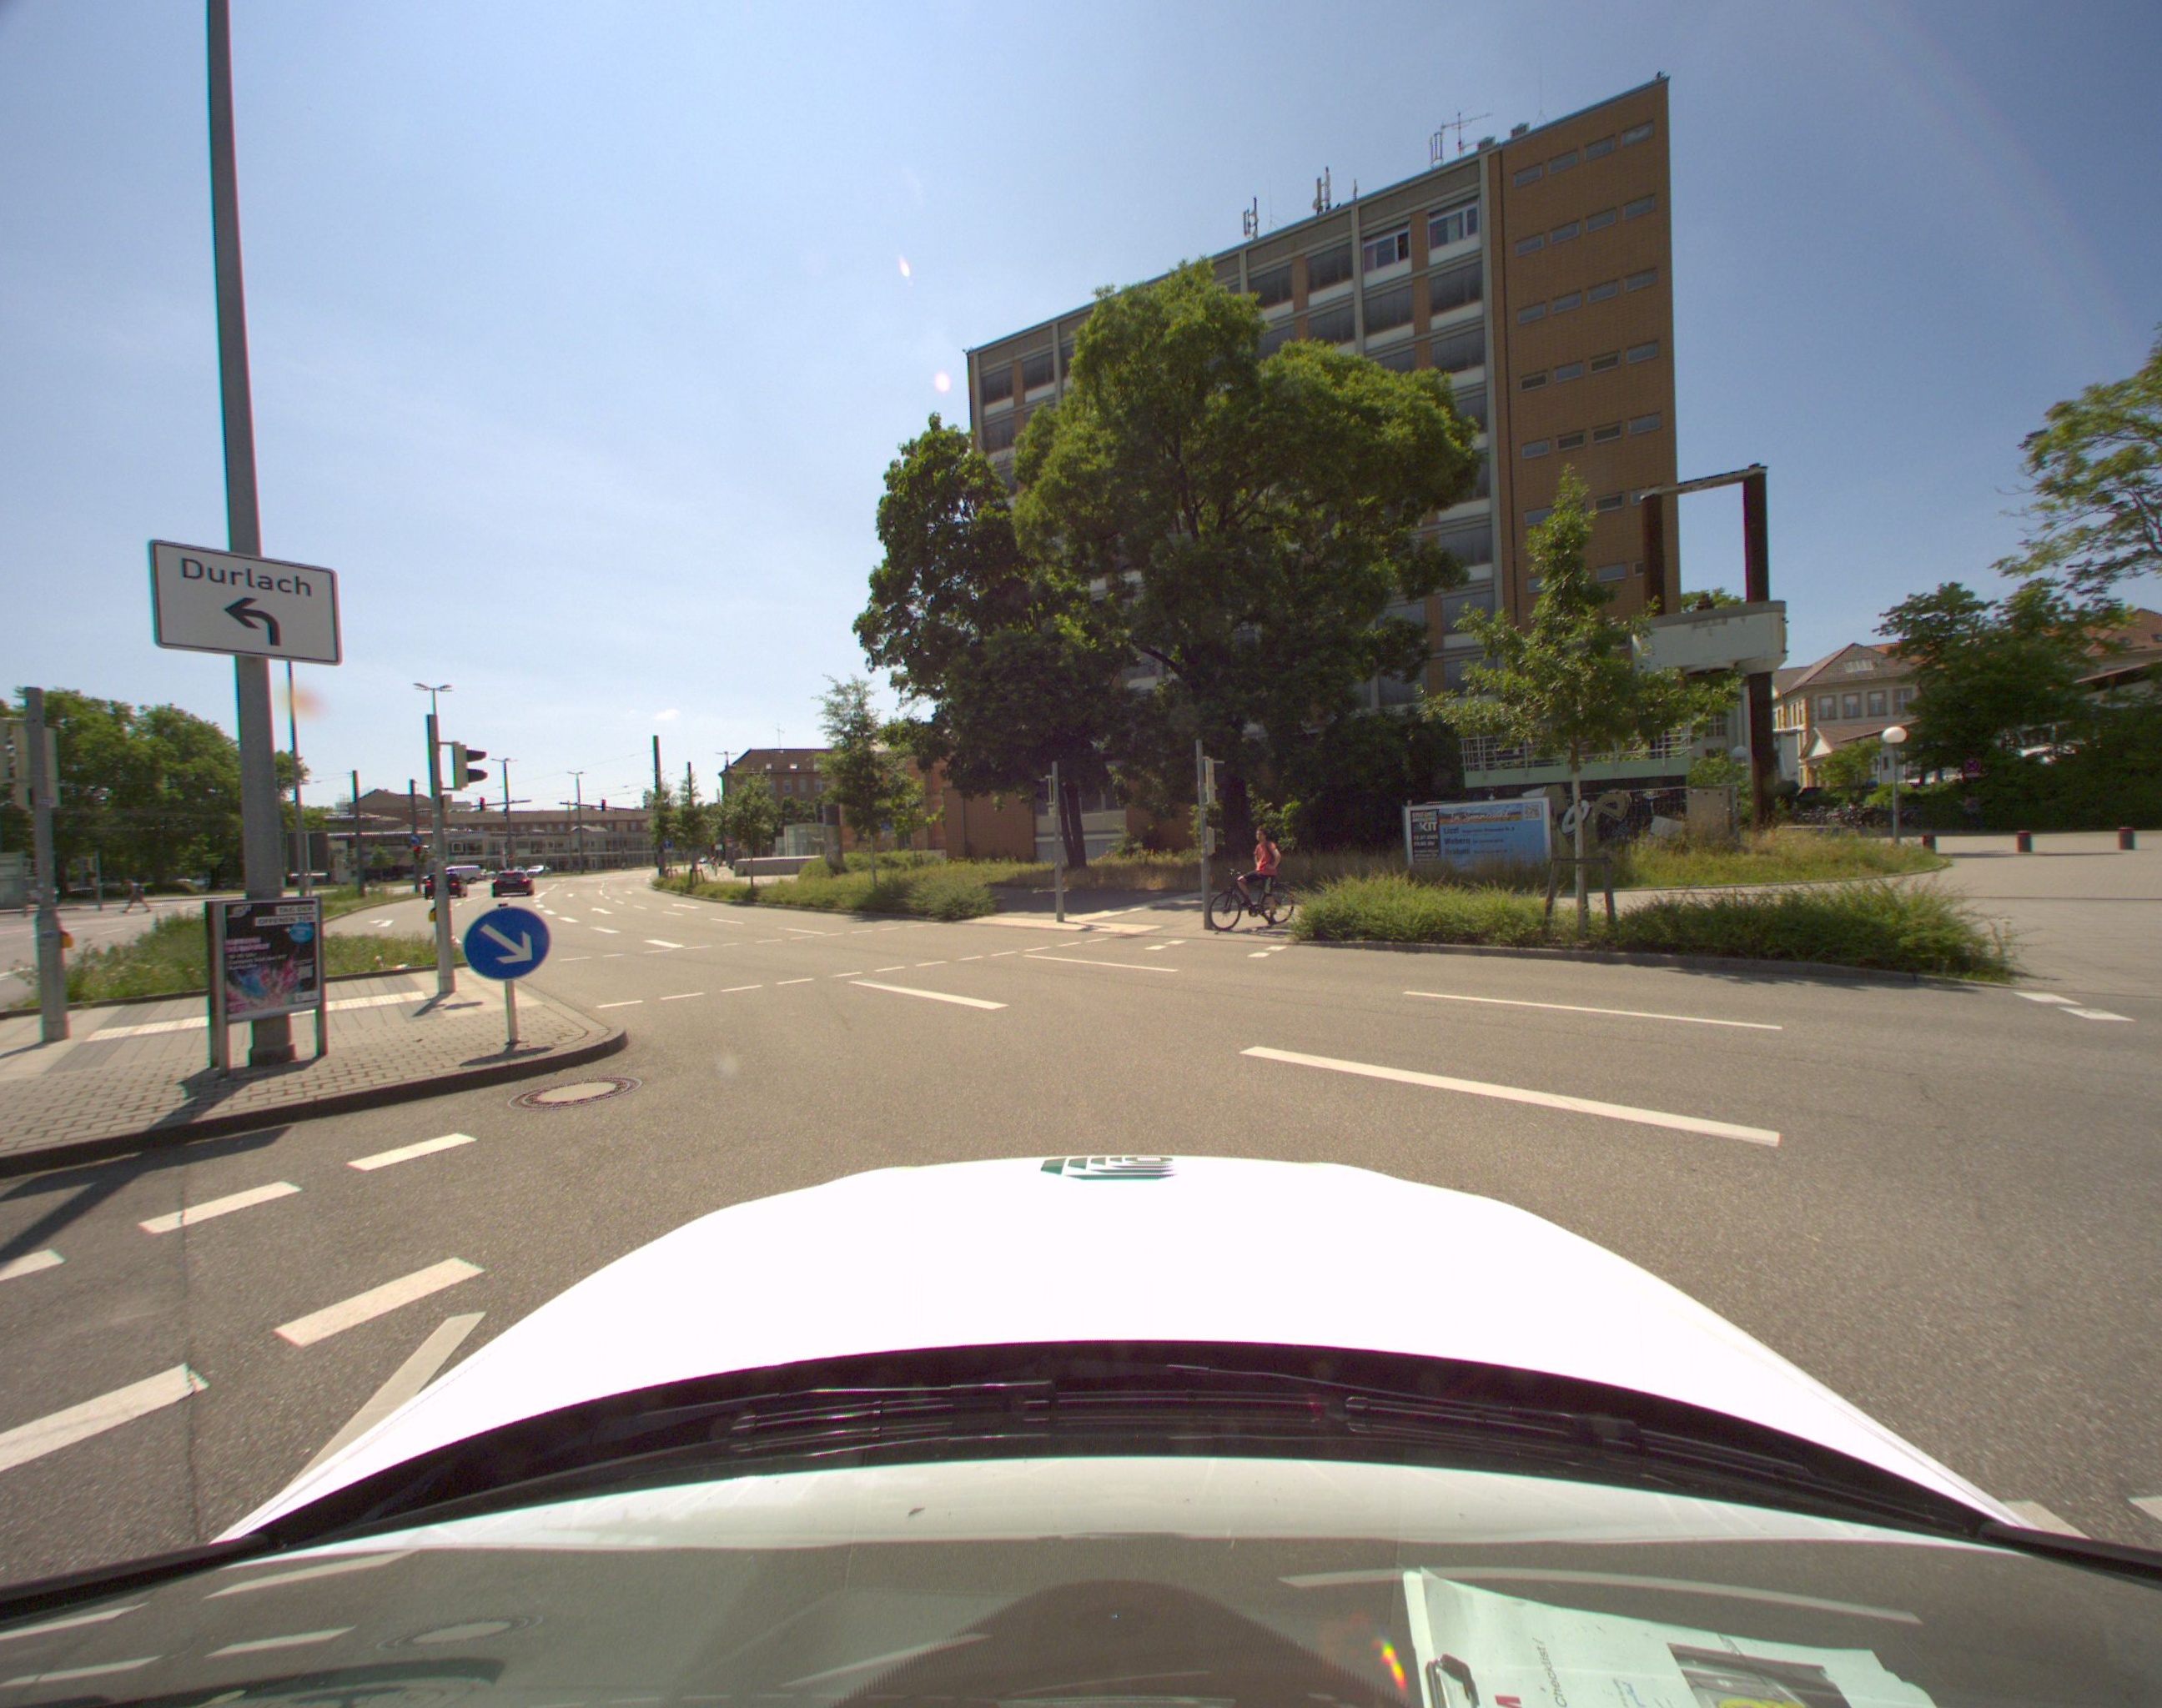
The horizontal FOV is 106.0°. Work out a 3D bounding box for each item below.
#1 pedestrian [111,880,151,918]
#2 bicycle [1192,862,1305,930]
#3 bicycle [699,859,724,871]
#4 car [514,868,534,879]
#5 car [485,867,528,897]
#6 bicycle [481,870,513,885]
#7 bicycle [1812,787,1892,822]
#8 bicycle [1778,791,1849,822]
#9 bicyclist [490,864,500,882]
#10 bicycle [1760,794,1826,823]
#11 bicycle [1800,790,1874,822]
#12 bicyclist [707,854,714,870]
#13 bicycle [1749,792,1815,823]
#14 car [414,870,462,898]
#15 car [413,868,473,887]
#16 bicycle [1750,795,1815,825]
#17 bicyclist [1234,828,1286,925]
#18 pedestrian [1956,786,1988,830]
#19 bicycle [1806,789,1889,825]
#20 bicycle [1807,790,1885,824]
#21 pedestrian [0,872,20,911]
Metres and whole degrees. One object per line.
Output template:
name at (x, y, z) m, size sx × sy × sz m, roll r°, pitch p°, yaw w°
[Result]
pedestrian at (-51.926, 2.452, 44.524) m, size 1.189 × 1.933 × 0.892 m, roll -2°, pitch 2°, yaw -38°
bicycle at (3.072, 0.748, 14.907) m, size 1.997 × 1.045 × 0.555 m, roll -4°, pitch 2°, yaw -19°
bicycle at (-47.400, 1.399, 104.398) m, size 2.846 × 1.463 × 0.627 m, roll -2°, pitch 2°, yaw -34°
car at (-76.707, 2.617, 112.137) m, size 1.436 × 1.285 × 3.241 m, roll -1°, pitch 2°, yaw -19°
car at (-33.152, 1.598, 47.083) m, size 1.728 × 1.556 × 4.540 m, roll -3°, pitch 1°, yaw -32°
bicycle at (-64.694, 2.591, 90.167) m, size 2.798 × 1.385 × 0.663 m, roll -2°, pitch 2°, yaw -39°
bicycle at (46.597, -2.976, 49.275) m, size 3.414 × 2.013 × 0.765 m, roll 0°, pitch 2°, yaw 32°
bicycle at (48.883, -3.149, 54.425) m, size 3.414 × 2.013 × 0.765 m, roll 0°, pitch 2°, yaw 32°
bicyclist at (-64.817, 2.129, 90.055) m, size 0.853 × 1.965 × 0.619 m, roll -2°, pitch 2°, yaw -39°
bicycle at (49.967, -3.180, 57.229) m, size 3.414 × 2.013 × 0.765 m, roll 0°, pitch 2°, yaw 32°
bicycle at (48.591, -3.070, 52.419) m, size 3.414 × 2.013 × 0.765 m, roll 0°, pitch 2°, yaw 32°
bicyclist at (-47.479, 1.037, 104.342) m, size 0.768 × 1.937 × 0.653 m, roll -2°, pitch 2°, yaw -33°
bicycle at (48.863, -3.221, 56.817) m, size 3.414 × 2.013 × 0.765 m, roll 0°, pitch 2°, yaw 32°
car at (-36.354, 1.657, 46.127) m, size 1.632 × 1.463 × 3.960 m, roll -2°, pitch 1°, yaw -31°
car at (-63.207, 2.282, 80.683) m, size 1.791 × 1.627 × 4.348 m, roll 1°, pitch 3°, yaw 39°
bicycle at (50.444, -3.149, 58.612) m, size 3.414 × 2.013 × 0.765 m, roll 0°, pitch 2°, yaw 32°
bicyclist at (3.282, 0.400, 14.970) m, size 0.703 × 1.715 × 0.548 m, roll -3°, pitch 2°, yaw -19°
pedestrian at (34.895, -1.792, 31.899) m, size 0.633 × 1.665 × 0.711 m, roll 0°, pitch 2°, yaw 28°
bicycle at (44.363, -2.712, 47.183) m, size 3.414 × 2.013 × 0.765 m, roll 0°, pitch 2°, yaw 32°
bicycle at (47.111, -2.898, 50.227) m, size 3.414 × 2.013 × 0.765 m, roll 0°, pitch 2°, yaw 32°
pedestrian at (-83.087, 2.898, 62.744) m, size 1.223 × 2.937 × 1.322 m, roll -2°, pitch 2°, yaw -35°
